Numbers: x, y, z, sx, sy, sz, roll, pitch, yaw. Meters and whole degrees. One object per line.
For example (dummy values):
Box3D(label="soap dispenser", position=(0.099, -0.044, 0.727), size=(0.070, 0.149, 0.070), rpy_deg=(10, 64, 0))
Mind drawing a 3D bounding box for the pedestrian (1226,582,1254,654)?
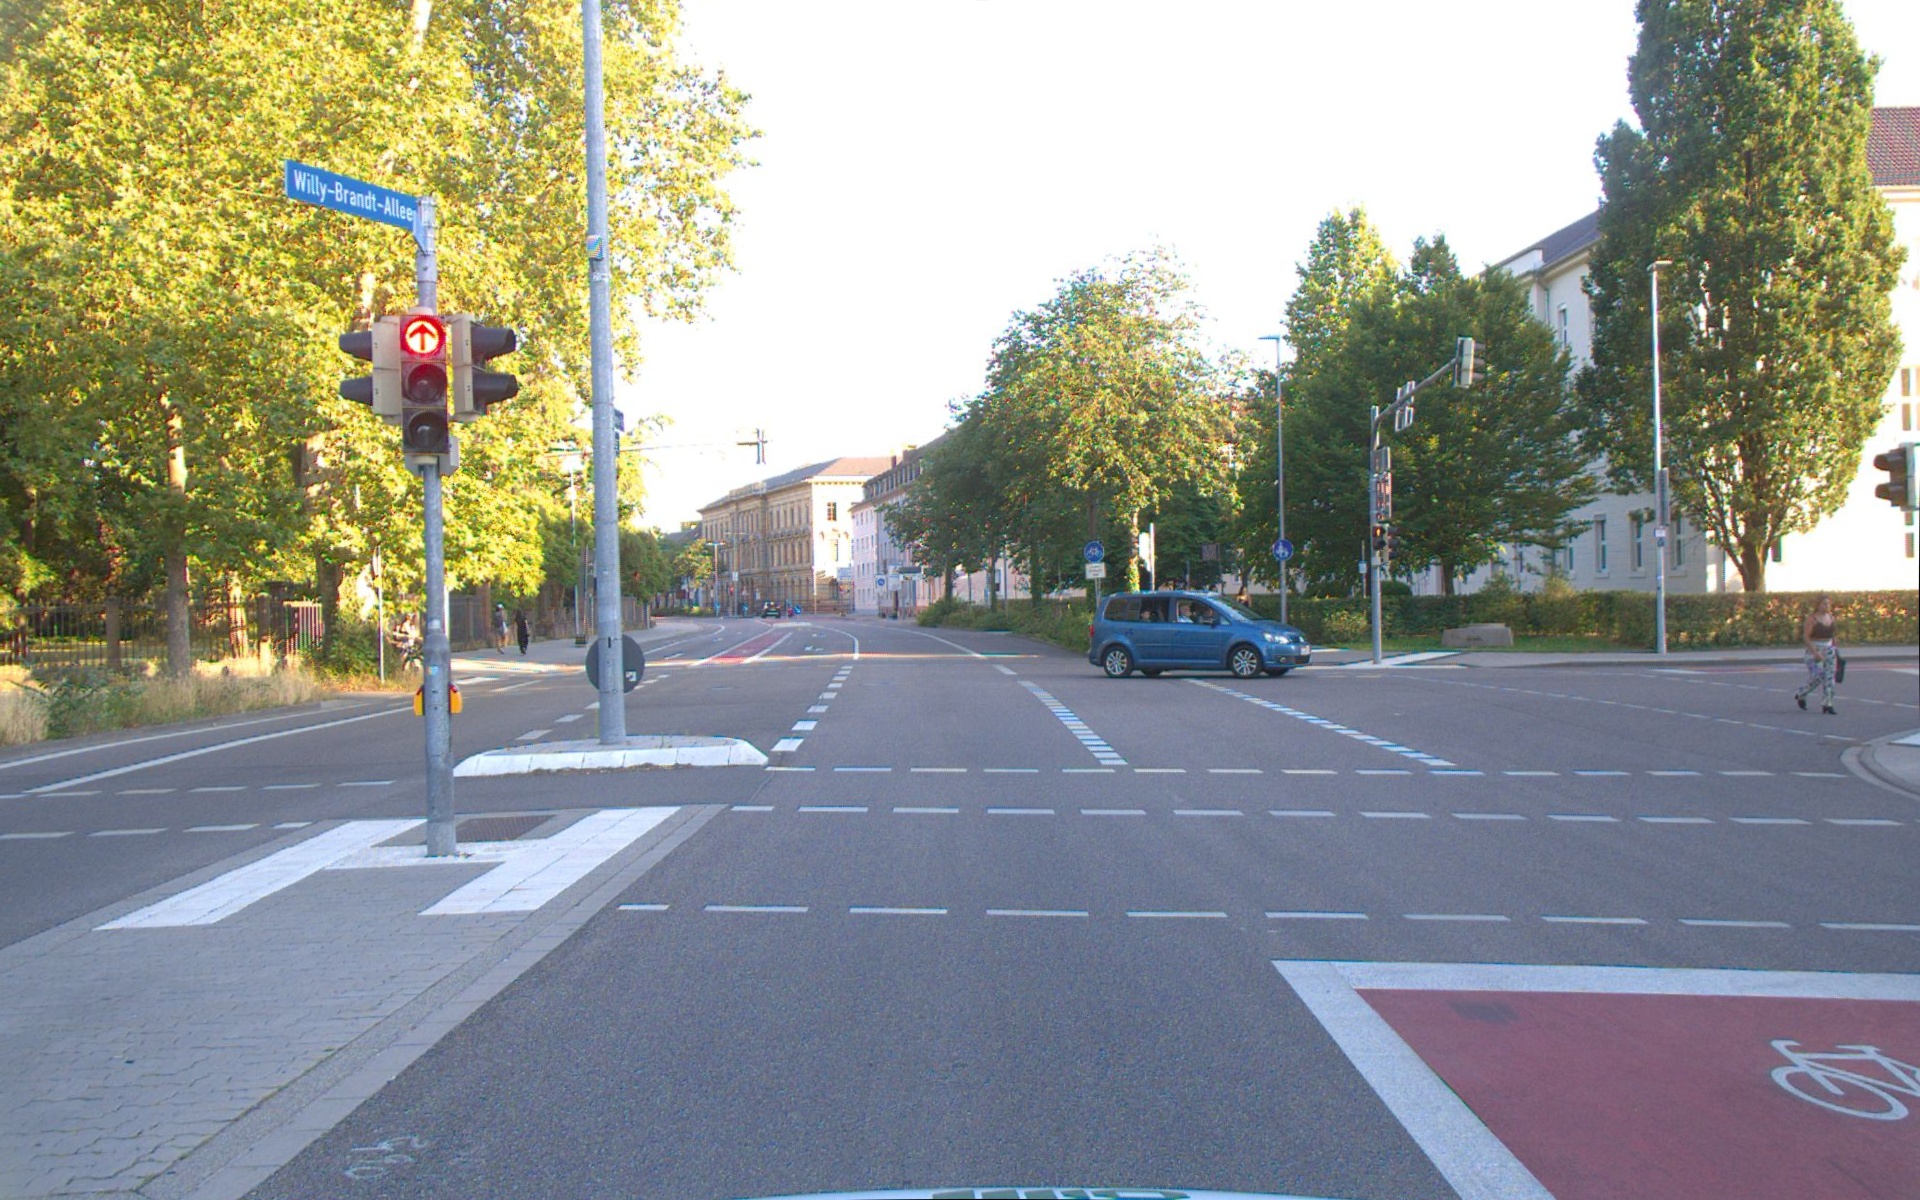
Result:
Box3D(label="pedestrian", position=(8.070, 0.515, 47.691), size=(0.622, 2.049, 0.720), rpy_deg=(0, 0, -5))

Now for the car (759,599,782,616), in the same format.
Box3D(label="car", position=(-19.446, 0.735, 169.416), size=(1.789, 1.616, 3.984), rpy_deg=(-2, 0, -15))

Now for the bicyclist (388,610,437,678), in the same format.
Box3D(label="bicyclist", position=(-13.845, 1.108, 41.855), size=(0.938, 1.659, 0.752), rpy_deg=(-1, 0, 0))

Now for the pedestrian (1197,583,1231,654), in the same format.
Box3D(label="pedestrian", position=(7.430, 0.541, 48.381), size=(0.852, 2.049, 0.722), rpy_deg=(0, 0, -1))

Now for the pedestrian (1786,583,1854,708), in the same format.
Box3D(label="pedestrian", position=(11.647, 0.604, 22.411), size=(0.587, 1.664, 0.691), rpy_deg=(0, 0, 2))

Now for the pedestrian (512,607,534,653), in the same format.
Box3D(label="pedestrian", position=(-15.411, 1.061, 58.364), size=(0.587, 1.601, 0.646), rpy_deg=(-1, 0, -1))

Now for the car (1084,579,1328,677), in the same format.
Box3D(label="car", position=(4.678, 0.530, 31.629), size=(4.204, 1.750, 1.851), rpy_deg=(-1, 0, 33))

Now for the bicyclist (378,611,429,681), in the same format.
Box3D(label="bicyclist", position=(-13.466, 1.104, 40.059), size=(0.938, 1.659, 0.752), rpy_deg=(-1, 0, 0))

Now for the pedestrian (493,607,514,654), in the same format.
Box3D(label="pedestrian", position=(-16.089, 1.059, 58.301), size=(0.524, 1.624, 0.590), rpy_deg=(-1, 0, -1))

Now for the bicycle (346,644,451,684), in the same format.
Box3D(label="bicycle", position=(-14.185, 1.615, 41.831), size=(2.380, 0.940, 0.775), rpy_deg=(-1, 0, 0))

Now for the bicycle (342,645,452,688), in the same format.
Box3D(label="bicycle", position=(-13.623, 1.605, 40.061), size=(2.380, 0.940, 0.775), rpy_deg=(-1, 0, 0))
